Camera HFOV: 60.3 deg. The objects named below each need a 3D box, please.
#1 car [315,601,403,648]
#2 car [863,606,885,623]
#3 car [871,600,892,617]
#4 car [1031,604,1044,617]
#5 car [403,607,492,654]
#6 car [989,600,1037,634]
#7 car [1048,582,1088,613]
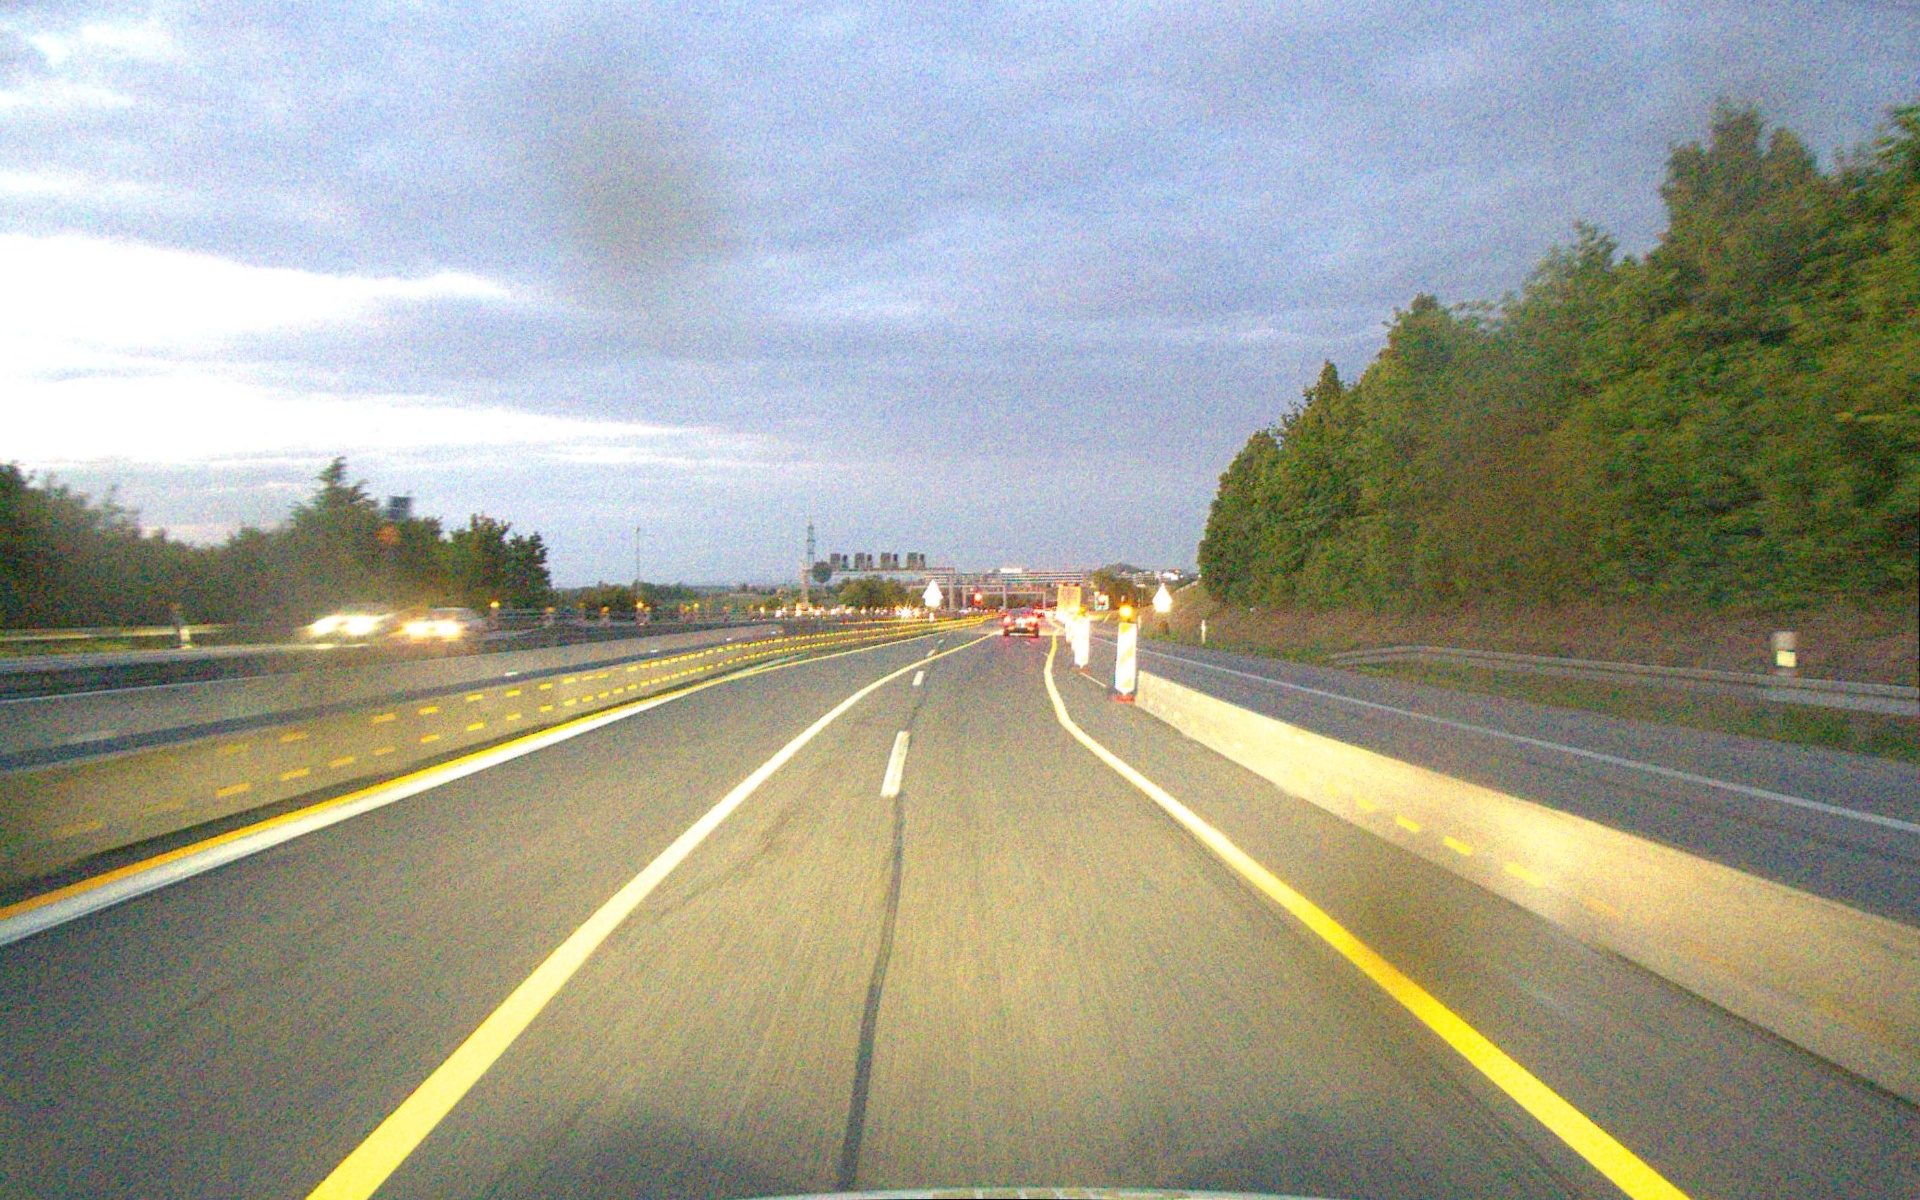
[{"bbox_3d":[-23.497,0.956,64.789,1.867,1.744,3.944,2,0,2],"label":"car"},{"bbox_3d":[-9.283,1.569,179.426,1.952,1.744,4.001,2,0,3],"label":"car"},{"bbox_3d":[-8.828,0.969,186.473,1.952,1.860,4.001,2,0,3],"label":"car"},{"bbox_3d":[12.154,1.635,260.062,1.952,2.049,4.001,2,0,2],"label":"car"},{"bbox_3d":[-19.683,1.138,63.693,1.793,1.690,4.841,2,0,1],"label":"car"},{"bbox_3d":[2.715,0.880,85.837,2.220,1.650,3.998,2,0,-2],"label":"car"},{"bbox_3d":[12.550,-0.239,193.065,3.534,3.455,8.008,2,0,-4],"label":"car"}]
